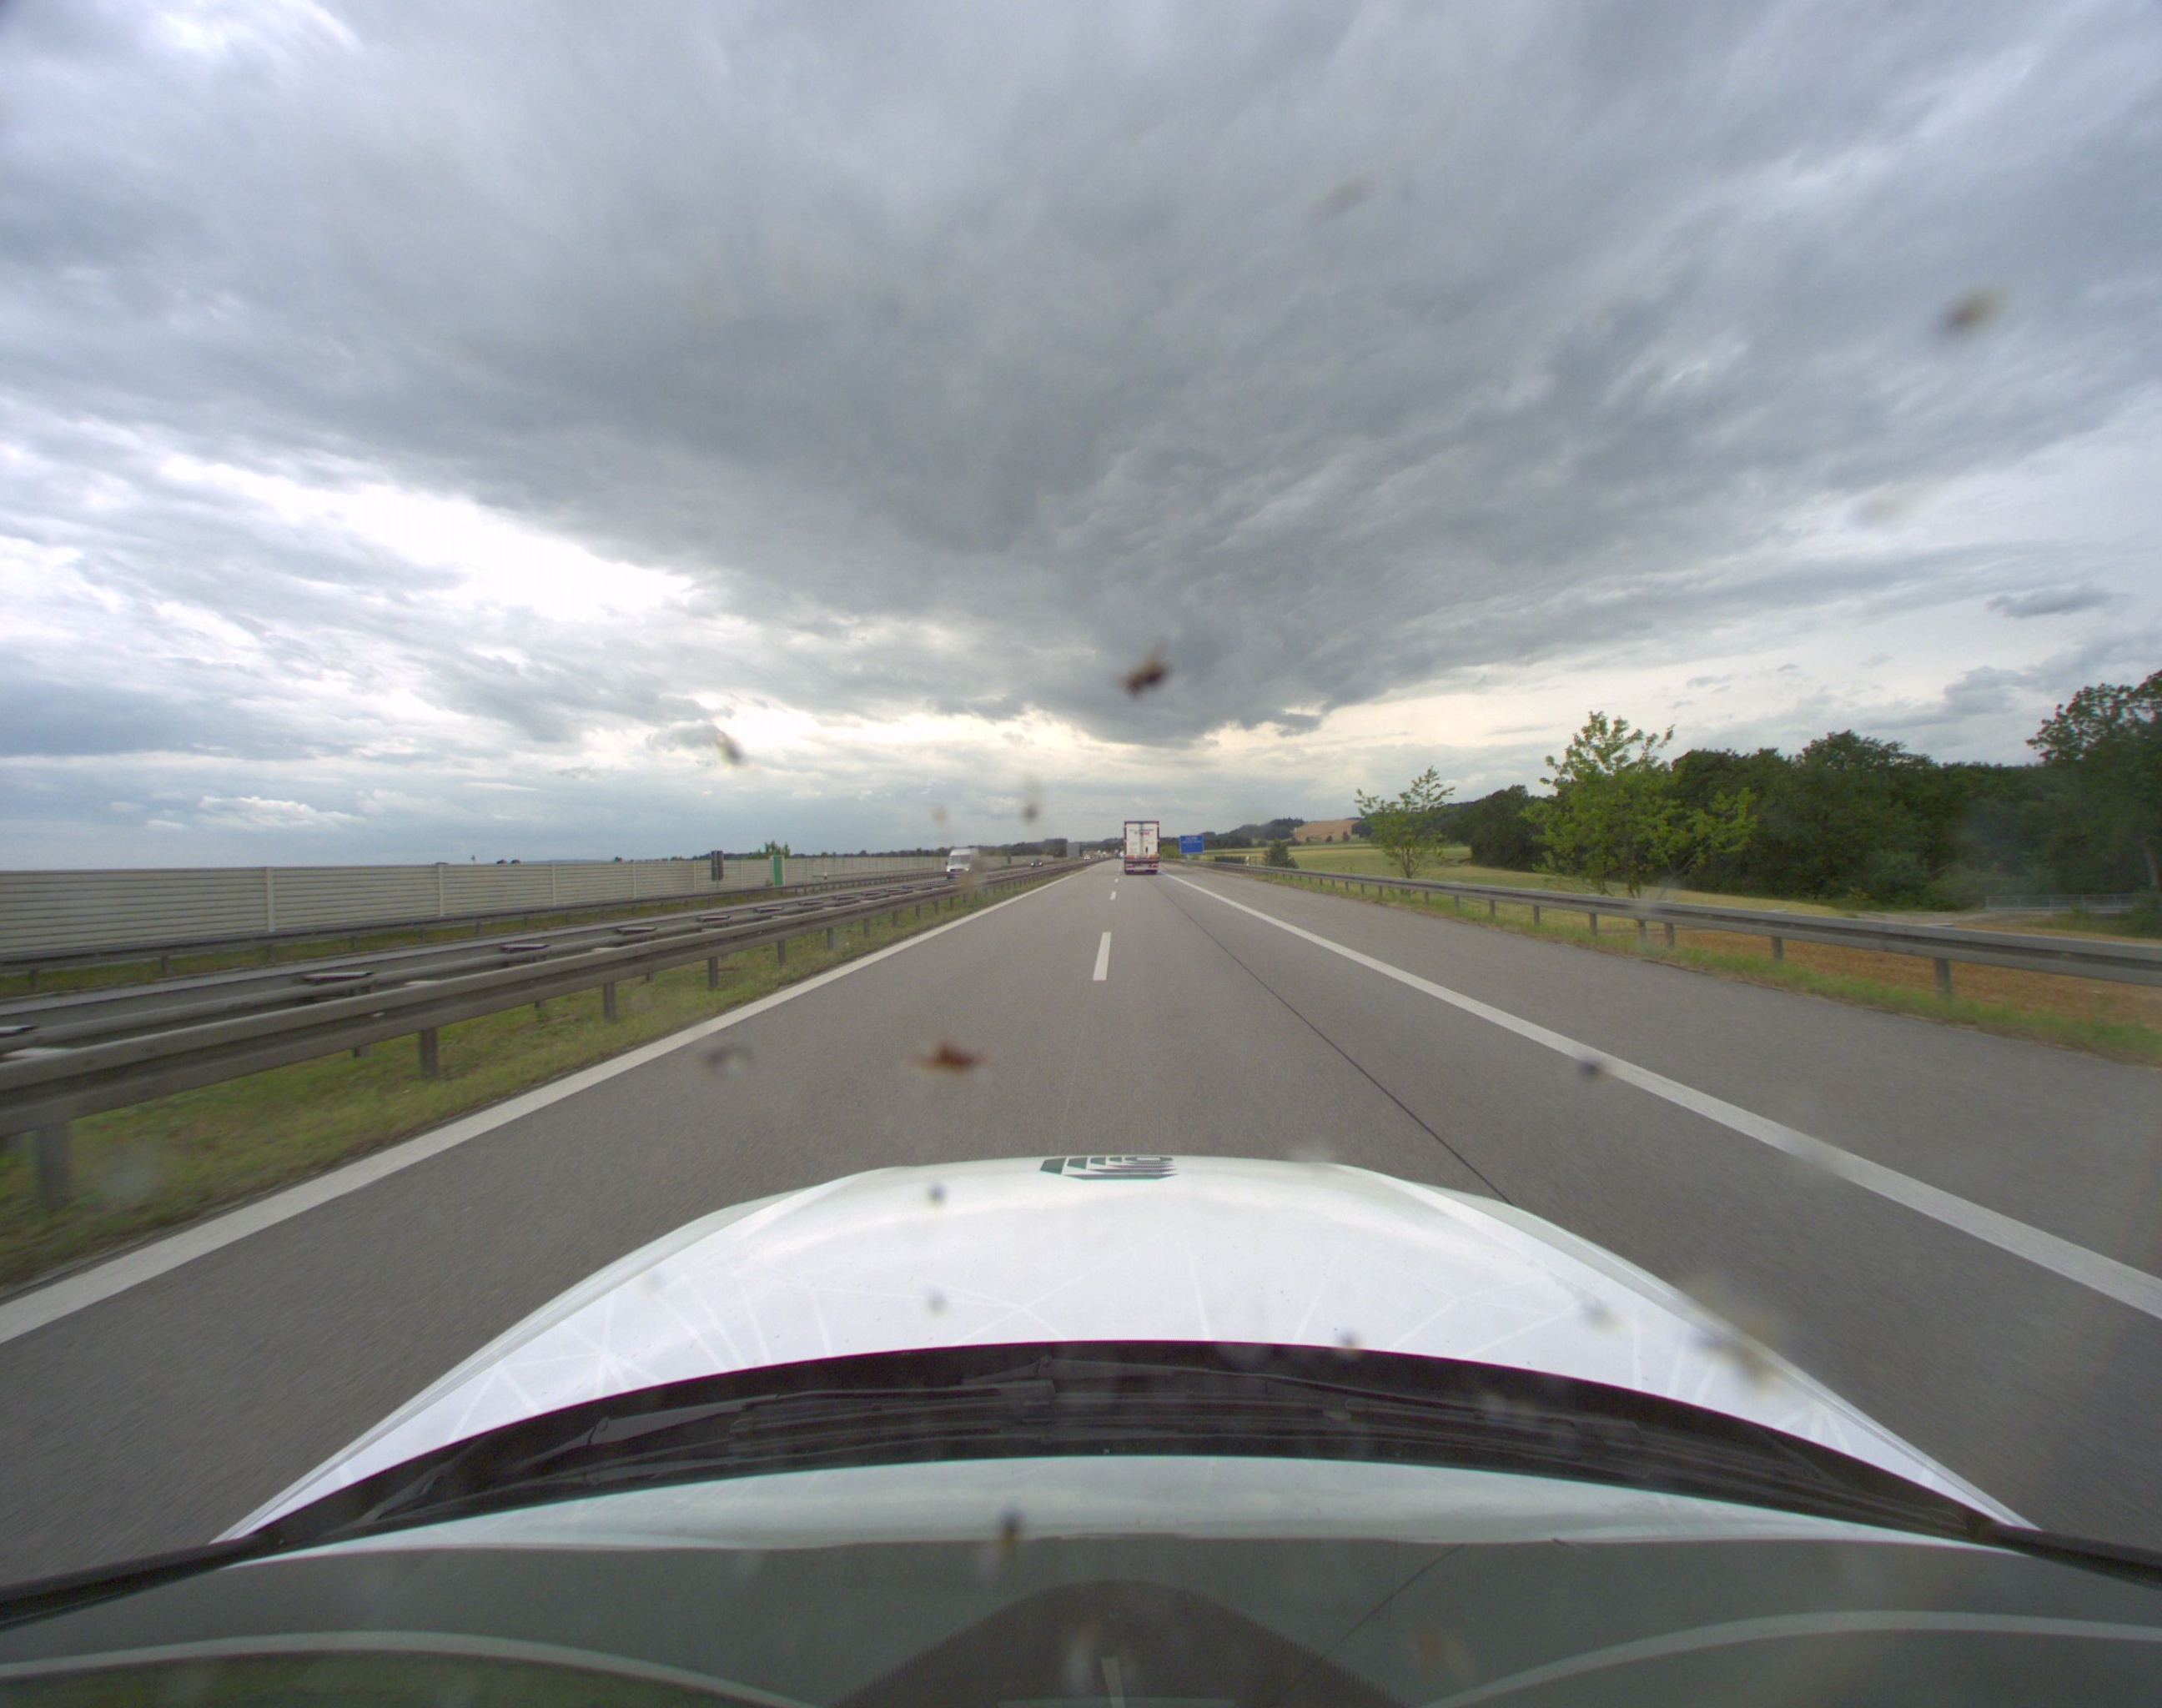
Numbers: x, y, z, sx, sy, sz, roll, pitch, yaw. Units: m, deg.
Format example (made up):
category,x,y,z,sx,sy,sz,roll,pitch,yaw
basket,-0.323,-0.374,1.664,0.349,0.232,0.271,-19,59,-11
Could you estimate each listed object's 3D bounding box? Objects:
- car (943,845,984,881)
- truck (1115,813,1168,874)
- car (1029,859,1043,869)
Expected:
category,x,y,z,sx,sy,sz,roll,pitch,yaw
car,-9.576,0.731,66.920,2.062,2.602,6.293,-5,-1,2
truck,4.816,-0.820,68.254,3.658,4.412,16.348,-2,0,2
car,-6.885,1.544,125.488,1.664,1.386,4.002,-3,0,2
